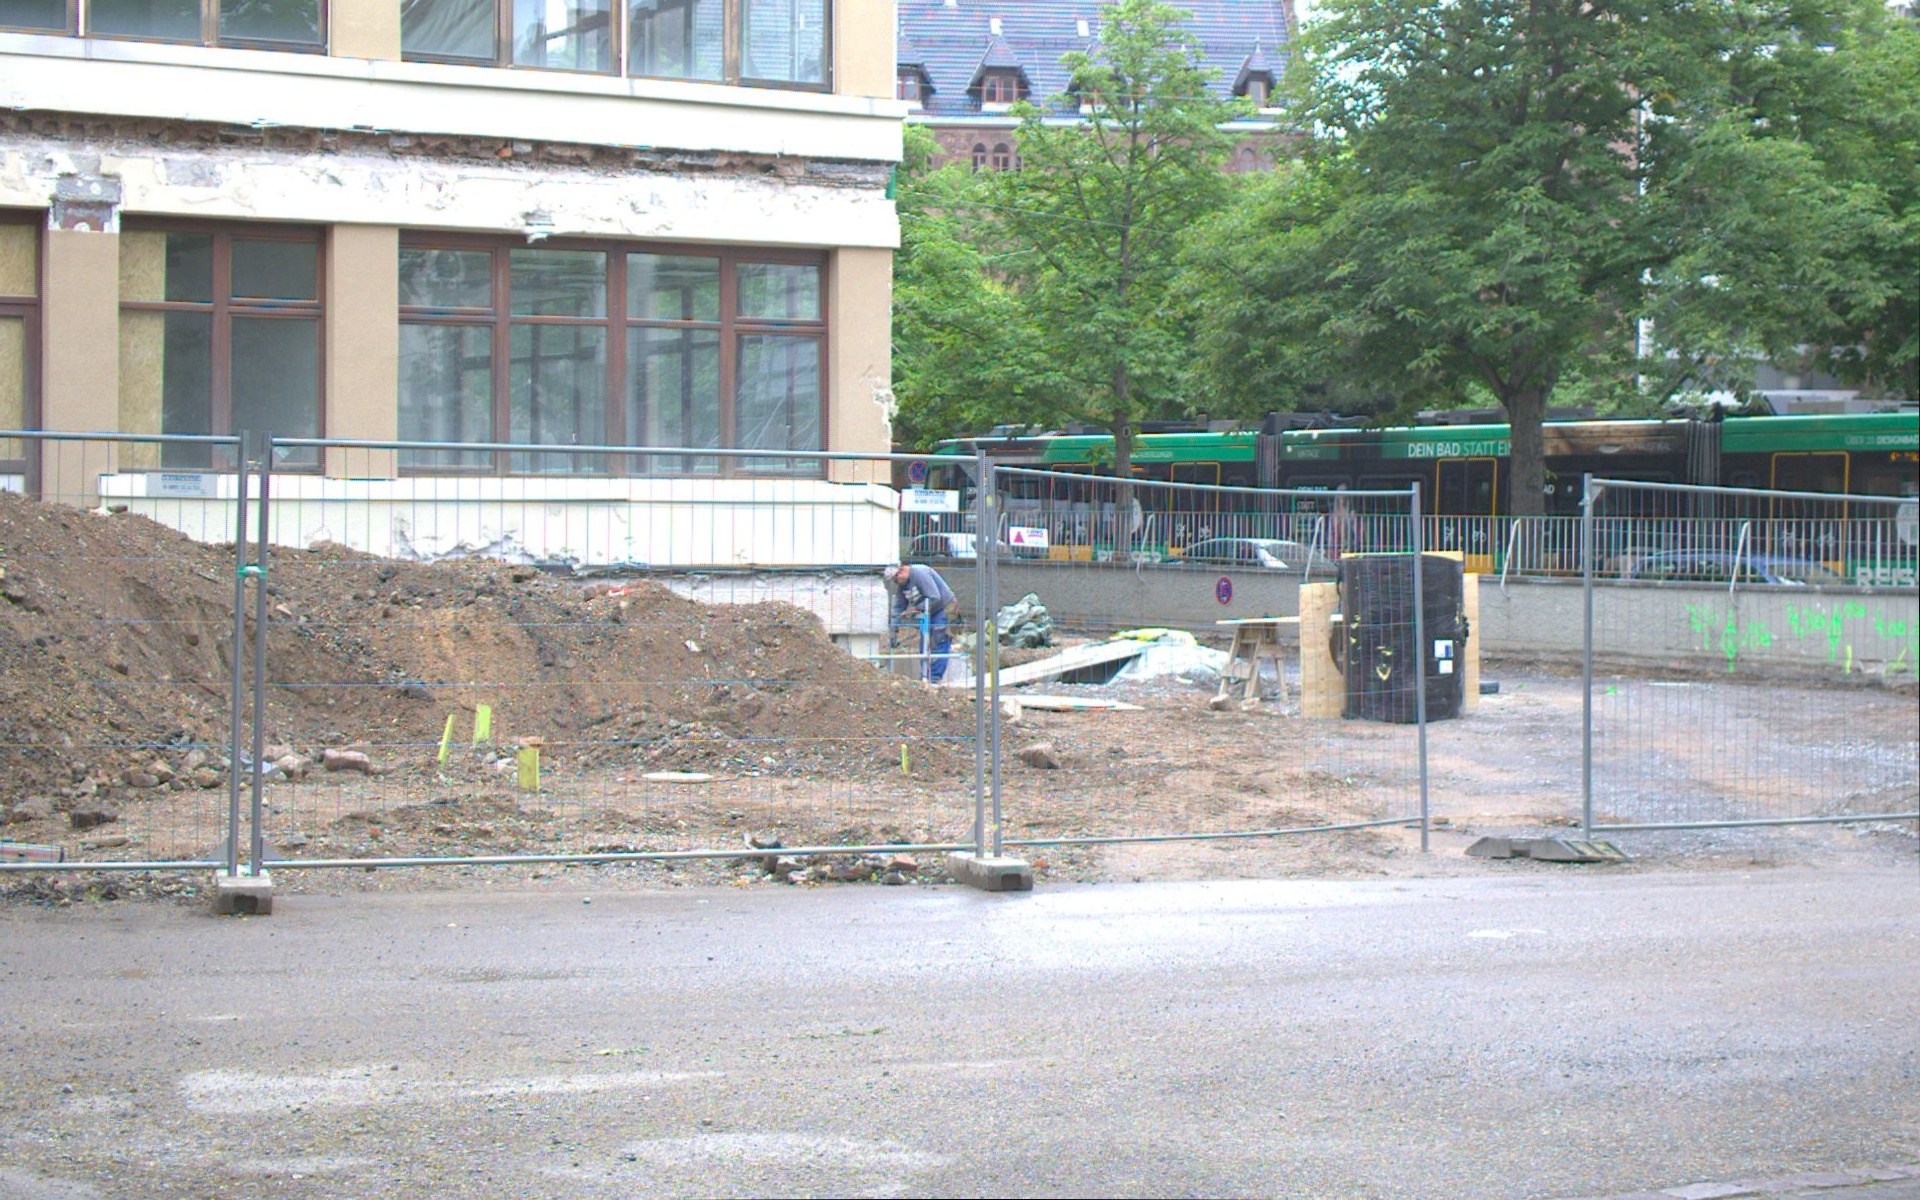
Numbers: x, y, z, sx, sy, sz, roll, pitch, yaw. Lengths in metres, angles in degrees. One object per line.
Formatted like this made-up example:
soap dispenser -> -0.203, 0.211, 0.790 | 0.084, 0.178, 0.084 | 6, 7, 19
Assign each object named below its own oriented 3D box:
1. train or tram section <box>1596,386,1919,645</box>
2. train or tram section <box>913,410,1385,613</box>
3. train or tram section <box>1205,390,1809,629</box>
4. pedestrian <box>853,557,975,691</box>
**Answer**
train or tram section -> 14.850, -1.164, 47.853 | 2.659, 3.602, 14.772 | 0, 1, -31
train or tram section -> 3.361, -1.696, 67.100 | 2.659, 3.602, 12.458 | 0, 1, -31
train or tram section -> 8.805, -1.491, 57.953 | 2.659, 3.602, 12.458 | 0, 1, -31
pedestrian -> -0.505, 0.251, 37.631 | 0.980, 1.433, 0.931 | 0, 1, -35
